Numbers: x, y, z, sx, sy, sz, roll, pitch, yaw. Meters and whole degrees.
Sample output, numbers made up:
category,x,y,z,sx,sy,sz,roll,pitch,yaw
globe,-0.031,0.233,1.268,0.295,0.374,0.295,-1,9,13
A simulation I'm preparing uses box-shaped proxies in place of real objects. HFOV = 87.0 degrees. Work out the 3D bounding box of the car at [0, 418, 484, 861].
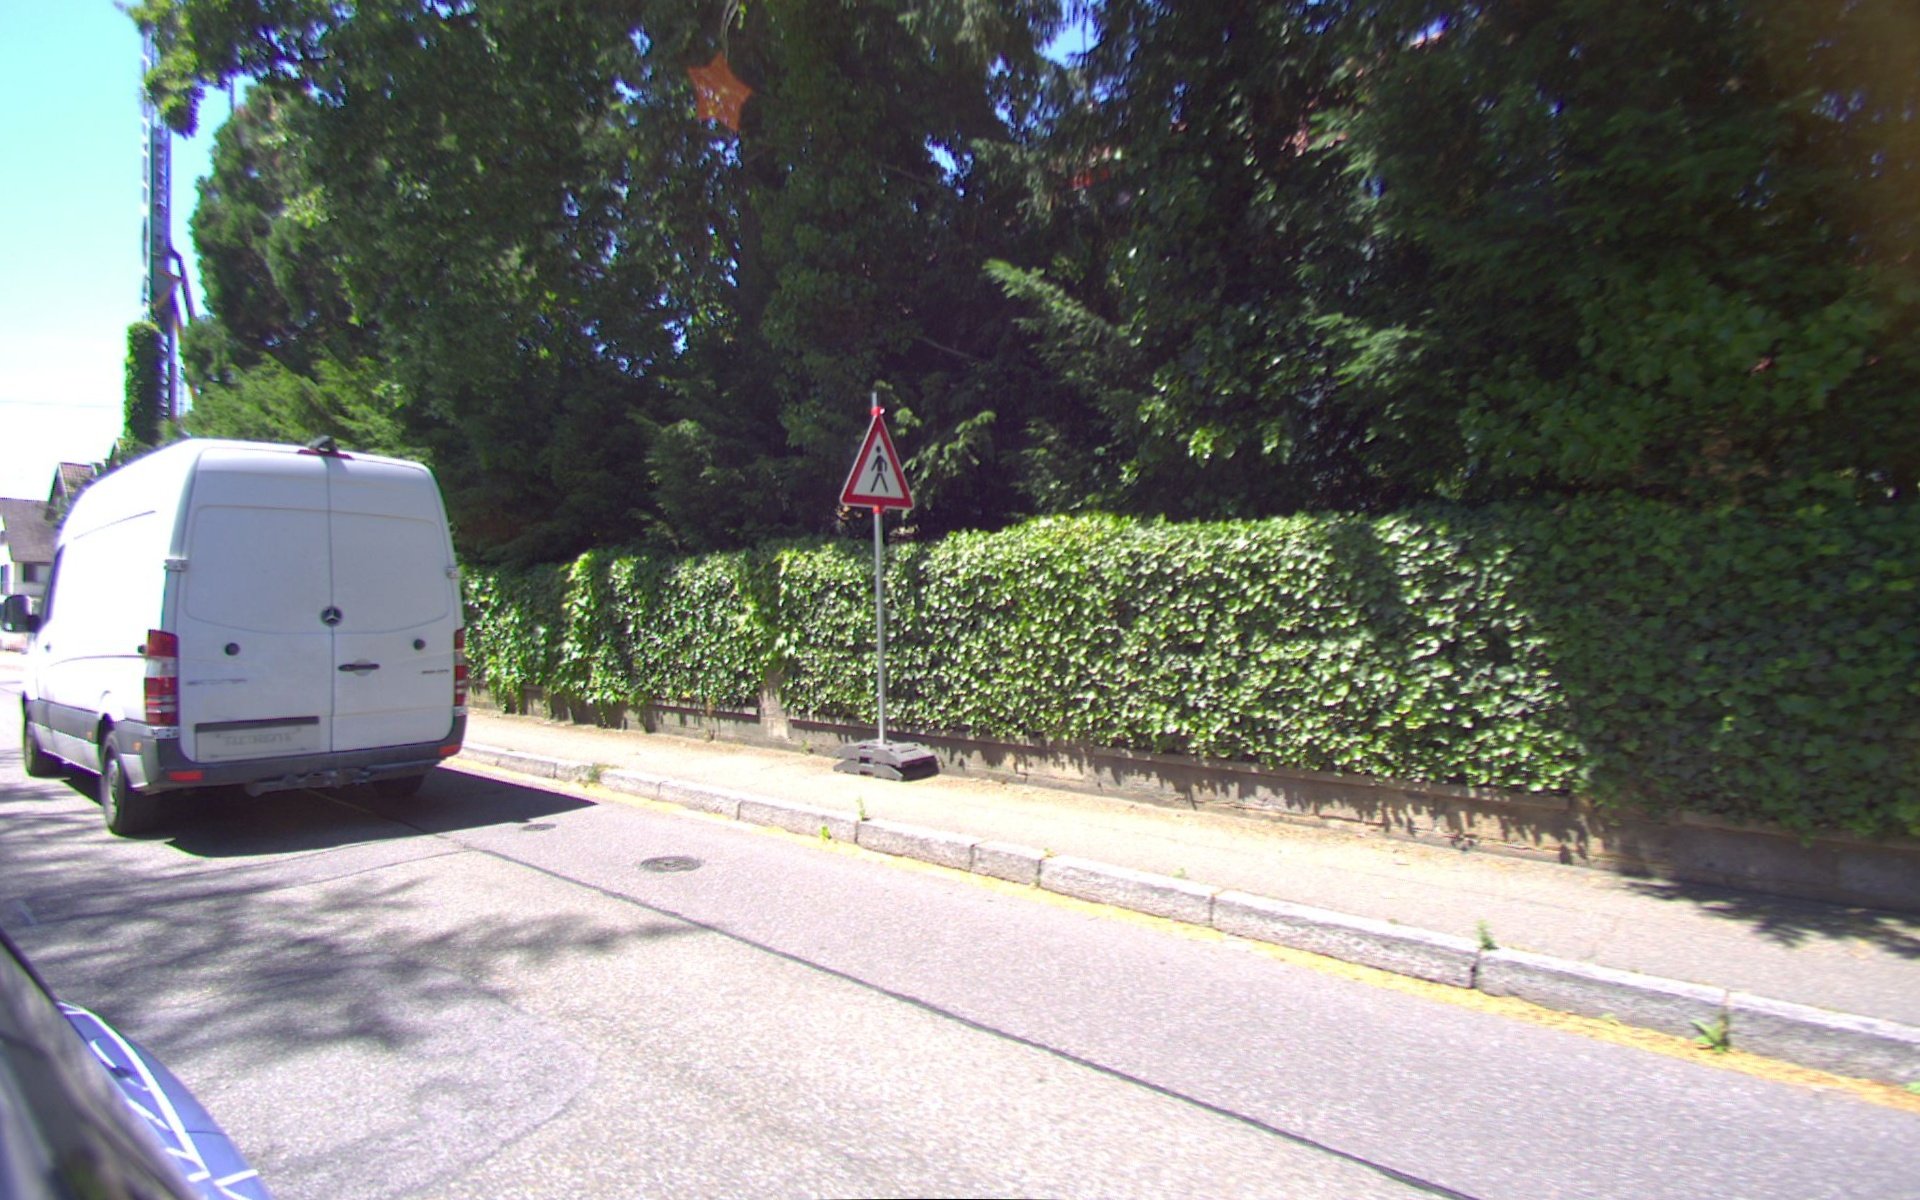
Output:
category,x,y,z,sx,sy,sz,roll,pitch,yaw
car,-6.321,0.286,8.522,5.891,2.552,1.973,-1,-2,41
